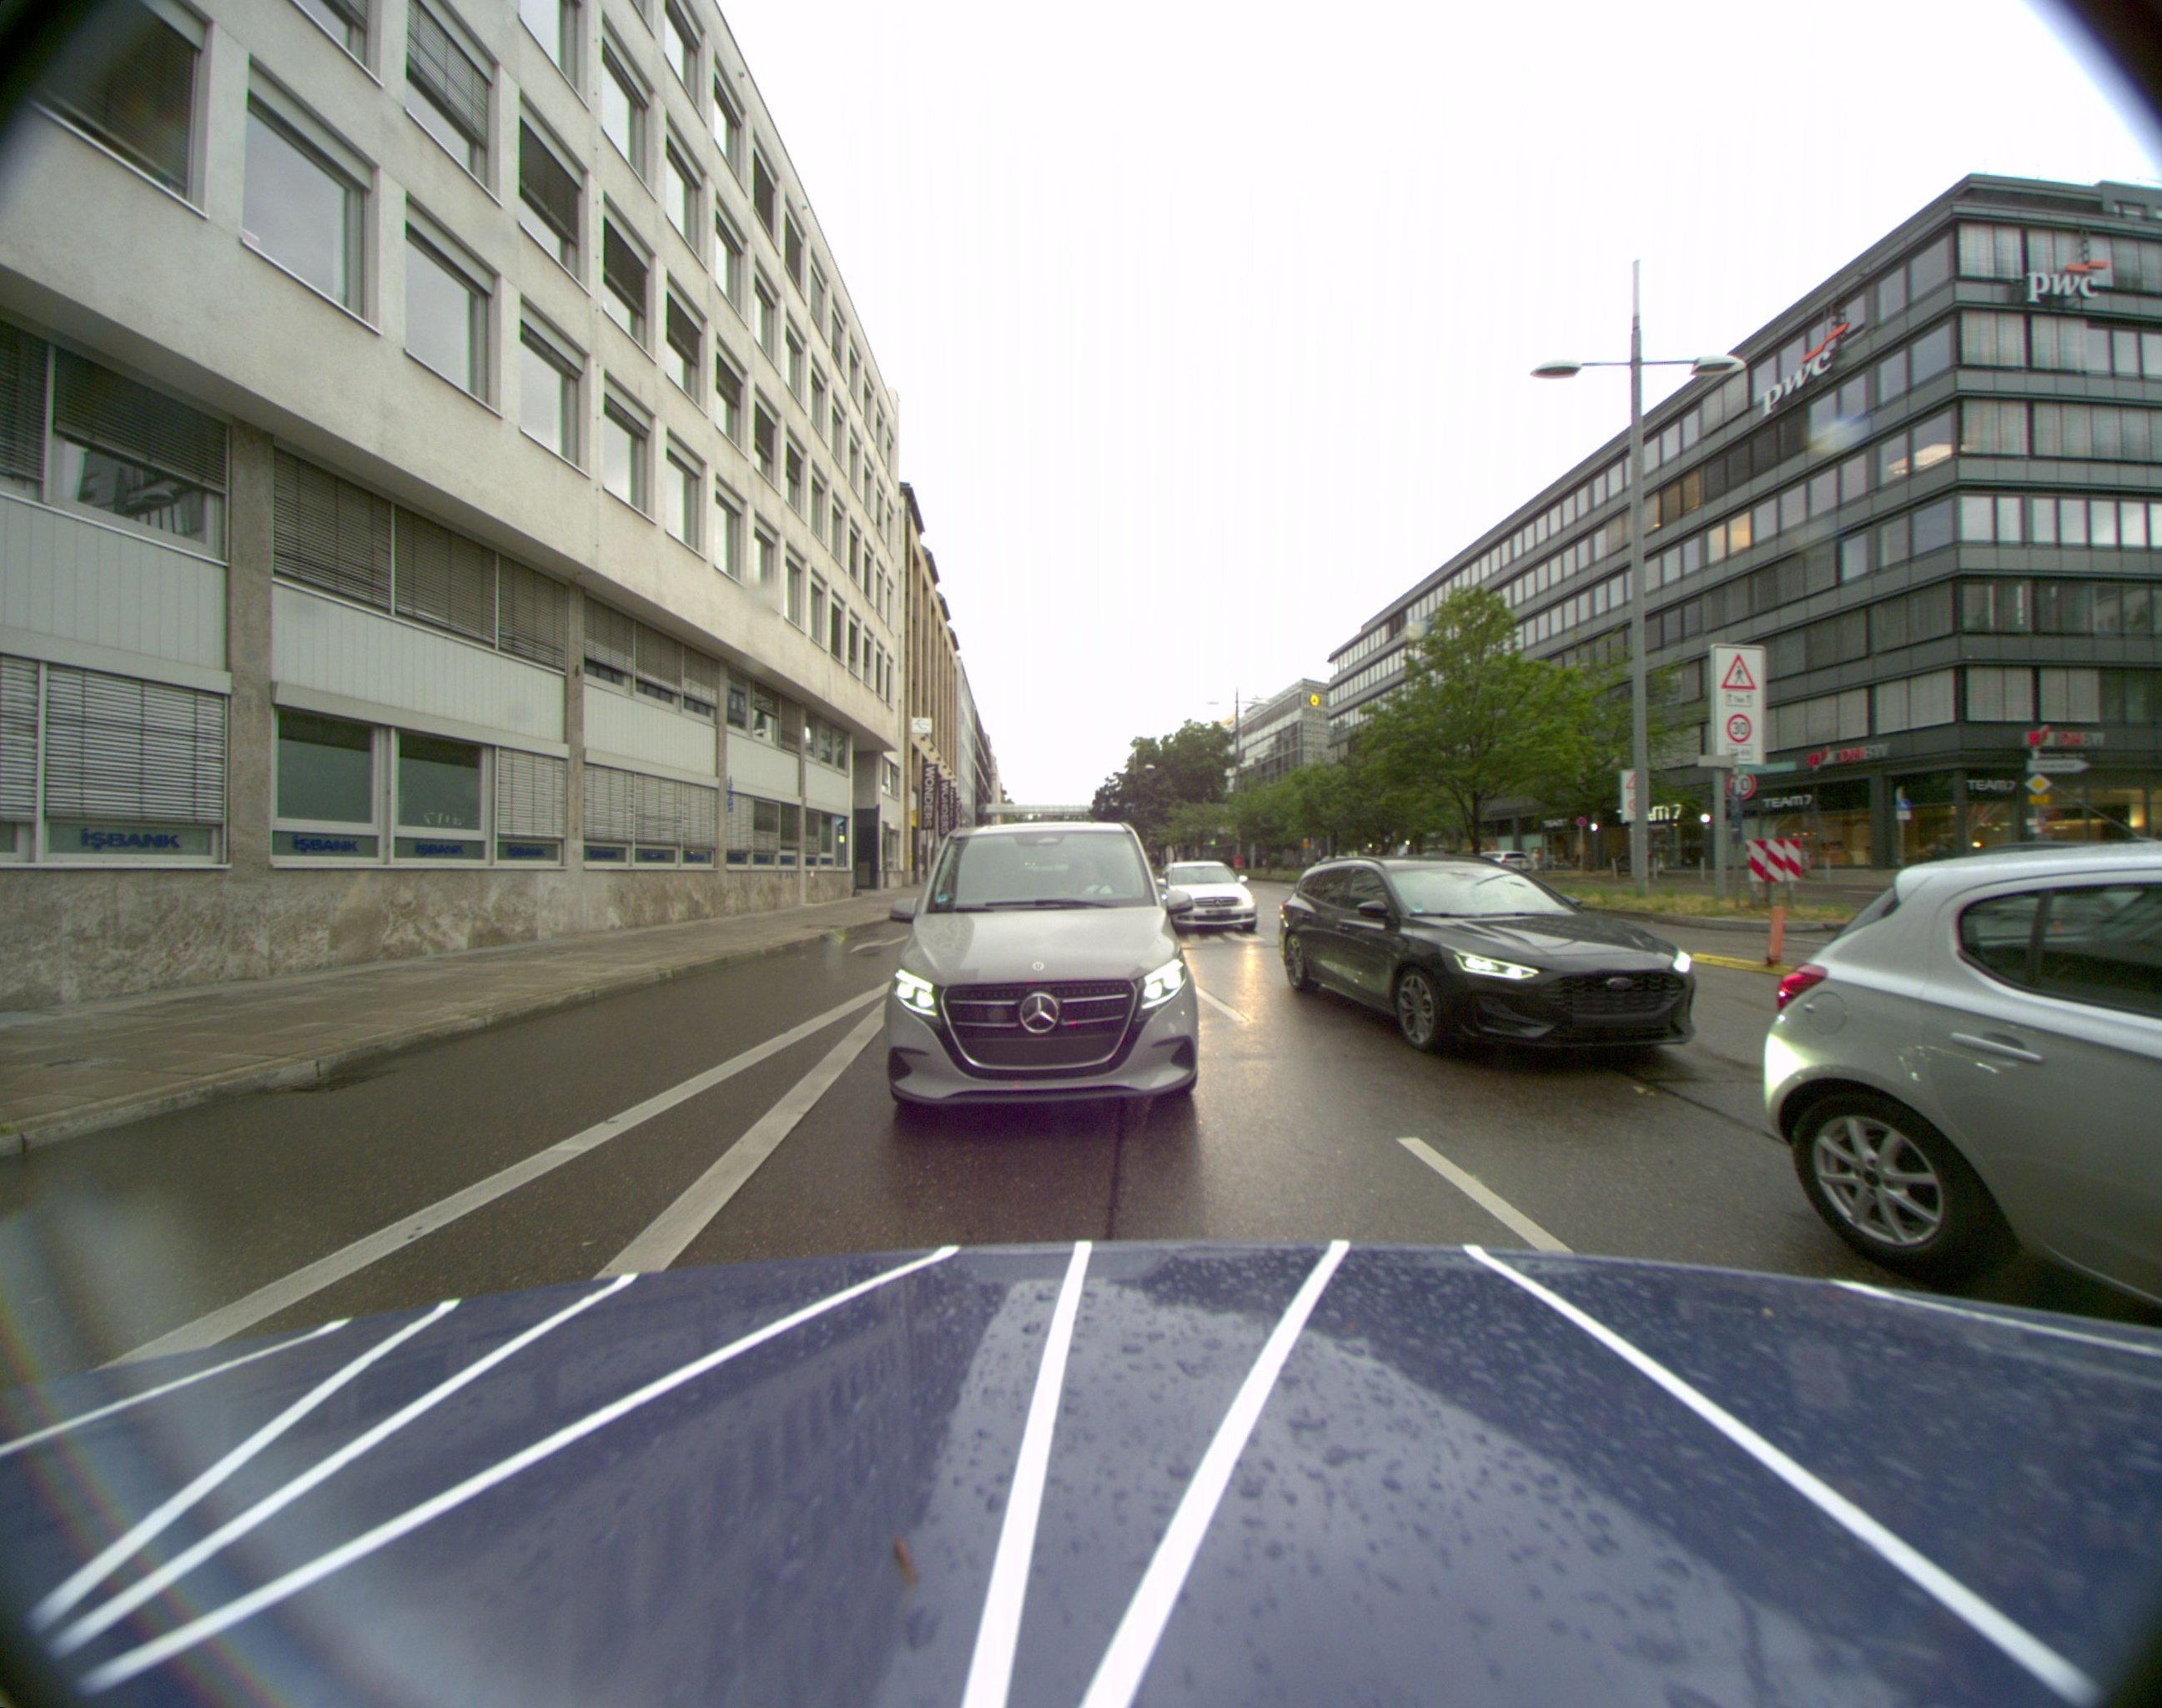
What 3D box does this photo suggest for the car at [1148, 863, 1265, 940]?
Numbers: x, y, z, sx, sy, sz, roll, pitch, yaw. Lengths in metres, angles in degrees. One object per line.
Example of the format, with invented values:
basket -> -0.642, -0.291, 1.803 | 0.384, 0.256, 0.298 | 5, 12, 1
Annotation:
car -> 2.602, 0.943, 16.666 | 1.776, 1.372, 4.094 | -2, 0, -1

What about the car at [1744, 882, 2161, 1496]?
car -> 3.494, 0.851, 1.092 | 1.652, 1.427, 3.875 | -2, 0, 0

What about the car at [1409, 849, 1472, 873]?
car -> 23.633, 0.440, 50.117 | 1.999, 1.498, 4.106 | -2, 0, -4

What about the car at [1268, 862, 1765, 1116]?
car -> 3.161, 0.831, 6.639 | 1.776, 1.427, 4.093 | -2, 0, -4

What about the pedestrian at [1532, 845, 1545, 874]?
pedestrian -> 32.218, 0.401, 53.486 | 0.575, 2.002, 0.461 | -2, 1, -5

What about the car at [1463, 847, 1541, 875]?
car -> 24.091, 0.382, 43.659 | 1.999, 1.498, 3.999 | -2, 0, -4

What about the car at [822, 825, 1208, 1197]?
car -> -0.354, 0.811, 6.420 | 1.916, 1.844, 5.026 | -2, 0, 0

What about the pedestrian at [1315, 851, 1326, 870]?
pedestrian -> 25.485, 0.688, 80.844 | 0.928, 2.002, 0.539 | -2, 0, -1

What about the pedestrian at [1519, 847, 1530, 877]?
pedestrian -> 30.646, 0.543, 52.456 | 0.541, 2.002, 0.297 | -2, 1, -5

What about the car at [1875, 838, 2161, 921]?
car -> 18.419, 0.425, 14.794 | 1.750, 1.364, 4.000 | -2, 0, 1

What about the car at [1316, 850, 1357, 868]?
car -> 22.379, 0.449, 66.661 | 1.999, 1.498, 3.999 | -2, 0, -4
